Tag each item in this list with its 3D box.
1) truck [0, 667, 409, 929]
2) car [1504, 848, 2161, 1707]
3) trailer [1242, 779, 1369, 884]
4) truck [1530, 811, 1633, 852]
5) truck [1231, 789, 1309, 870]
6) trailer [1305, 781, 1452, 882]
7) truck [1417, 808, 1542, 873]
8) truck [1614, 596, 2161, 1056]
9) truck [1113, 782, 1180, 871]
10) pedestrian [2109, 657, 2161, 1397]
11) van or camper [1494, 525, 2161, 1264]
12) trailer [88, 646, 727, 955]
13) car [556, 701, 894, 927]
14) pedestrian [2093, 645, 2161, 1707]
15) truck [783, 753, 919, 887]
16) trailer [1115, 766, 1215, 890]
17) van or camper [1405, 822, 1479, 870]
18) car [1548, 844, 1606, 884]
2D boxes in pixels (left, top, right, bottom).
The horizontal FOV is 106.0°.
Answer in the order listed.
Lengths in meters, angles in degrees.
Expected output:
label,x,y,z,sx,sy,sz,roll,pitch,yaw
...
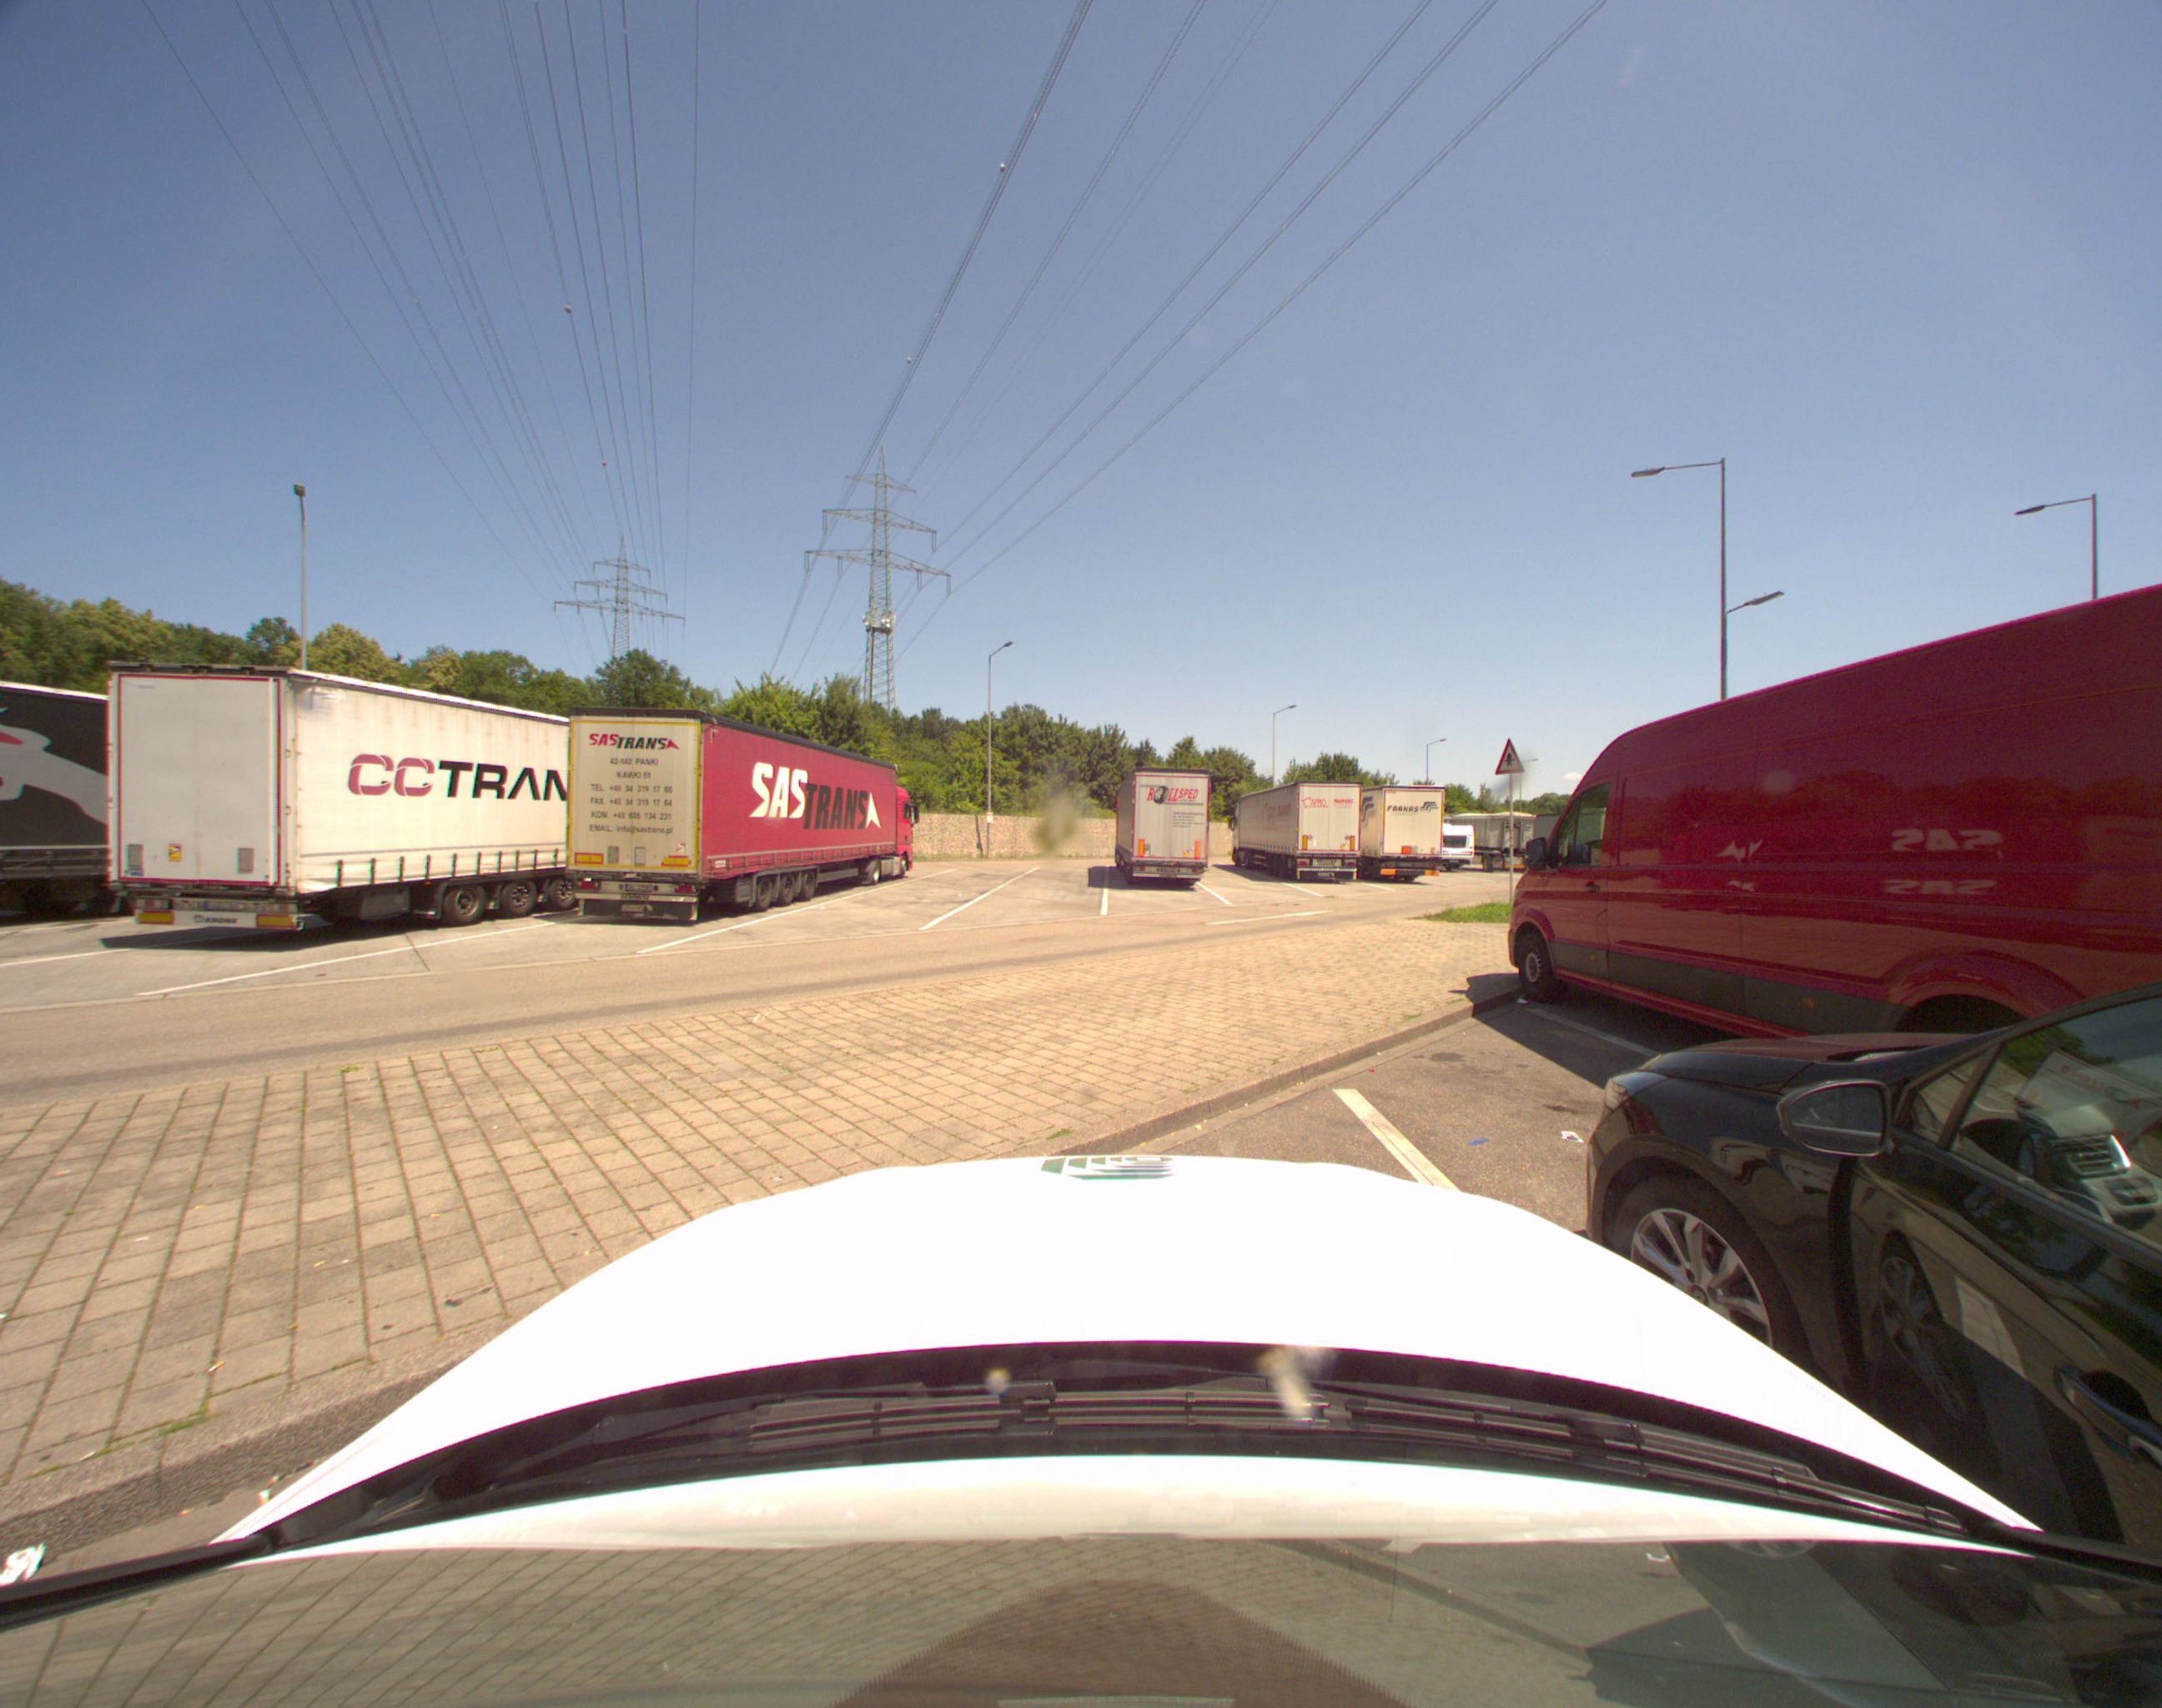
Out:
label,x,y,z,sx,sy,sz,roll,pitch,yaw
truck,-18.617,-1.026,16.277,2.803,4.190,8.793,0,2,2
car,2.457,0.755,1.150,1.612,1.483,3.762,-1,1,-4
trailer,9.954,-1.111,37.911,2.856,4.037,12.445,0,2,2
truck,38.032,-1.656,62.389,2.117,2.820,9.783,-1,1,2
truck,10.179,-1.376,44.543,2.856,4.037,6.960,0,2,2
trailer,13.641,-1.131,38.886,2.856,4.037,12.445,0,2,2
truck,24.299,-0.967,50.510,2.478,3.568,11.429,0,2,2
truck,7.941,-0.212,7.074,2.455,2.792,6.978,0,1,4
truck,3.138,-1.401,40.826,2.857,4.037,7.029,0,2,1
pedestrian,3.137,0.441,1.732,0.770,1.872,0.916,-1,1,-4
van or camper,5.140,0.099,5.501,1.986,2.654,6.490,-1,1,6
trailer,-12.162,-0.979,17.797,2.803,4.266,12.947,0,2,2
car,-8.048,-0.939,21.441,2.686,4.112,12.943,1,2,2
pedestrian,1.357,0.606,0.559,0.648,1.586,0.650,-1,1,-18
truck,-7.749,-1.159,28.357,2.686,4.112,6.243,1,2,2
trailer,3.045,-1.111,33.738,2.857,4.037,14.244,0,2,1
van or camper,20.590,-0.475,46.751,2.096,2.561,5.376,-1,1,3
car,20.908,0.368,34.262,1.824,1.561,3.975,0,1,35
